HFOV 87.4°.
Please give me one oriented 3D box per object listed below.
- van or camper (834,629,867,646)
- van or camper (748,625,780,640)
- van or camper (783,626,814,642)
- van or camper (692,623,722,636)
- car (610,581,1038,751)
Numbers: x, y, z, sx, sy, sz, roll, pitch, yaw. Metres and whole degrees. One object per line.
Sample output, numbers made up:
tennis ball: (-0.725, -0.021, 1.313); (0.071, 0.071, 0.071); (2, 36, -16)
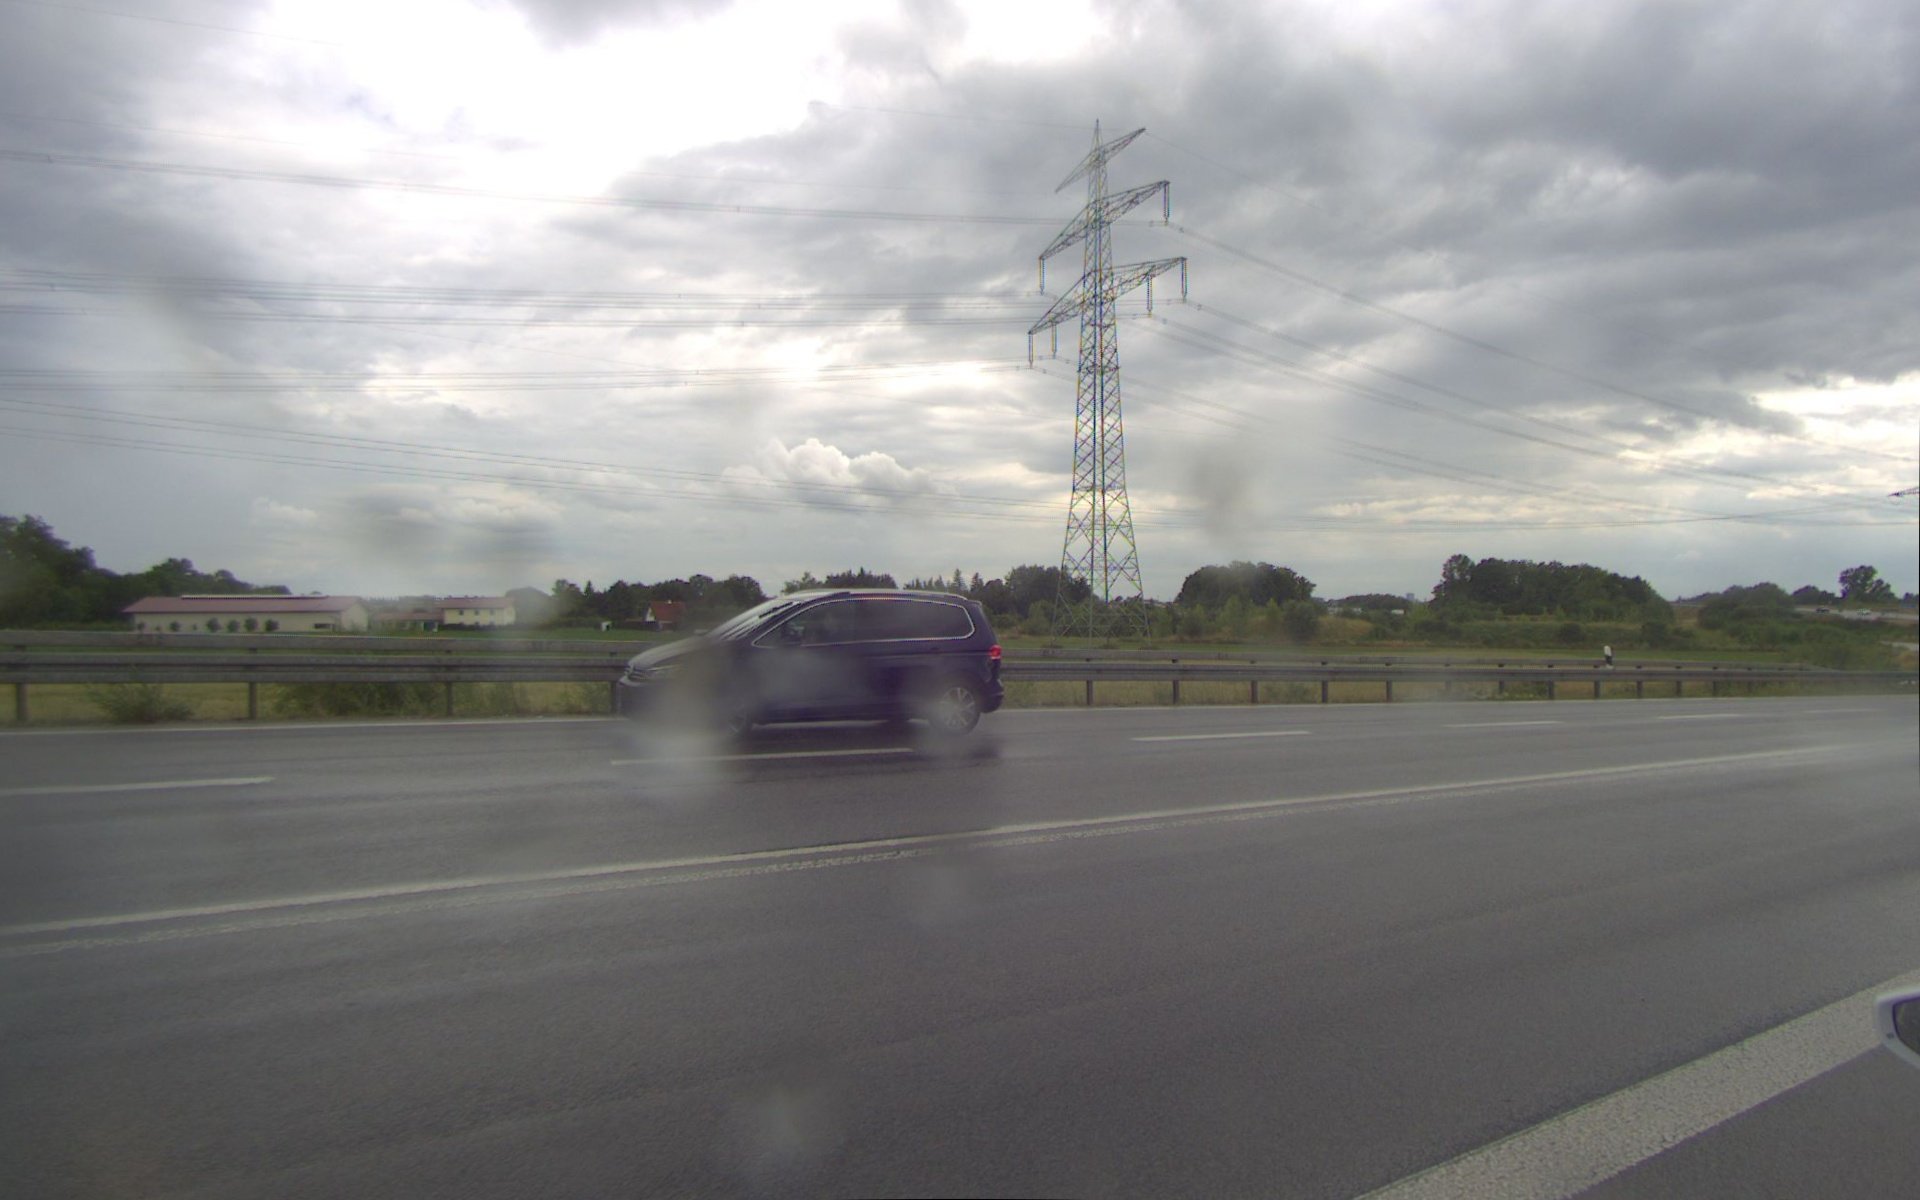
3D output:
van or camper: (-18.861, 6.514, 173.294); (5.626, 2.667, 2.320); (2, 0, 37)
van or camper: (-37.857, 6.272, 194.207); (2.297, 2.667, 5.683); (2, 0, 44)
van or camper: (-29.531, 6.240, 183.411); (5.626, 2.667, 2.320); (2, 0, 37)
van or camper: (-52.167, 6.071, 207.309); (2.297, 2.667, 5.683); (2, 0, 44)
car: (-1.477, 0.693, 11.578); (4.582, 1.631, 1.699); (2, 0, -30)
